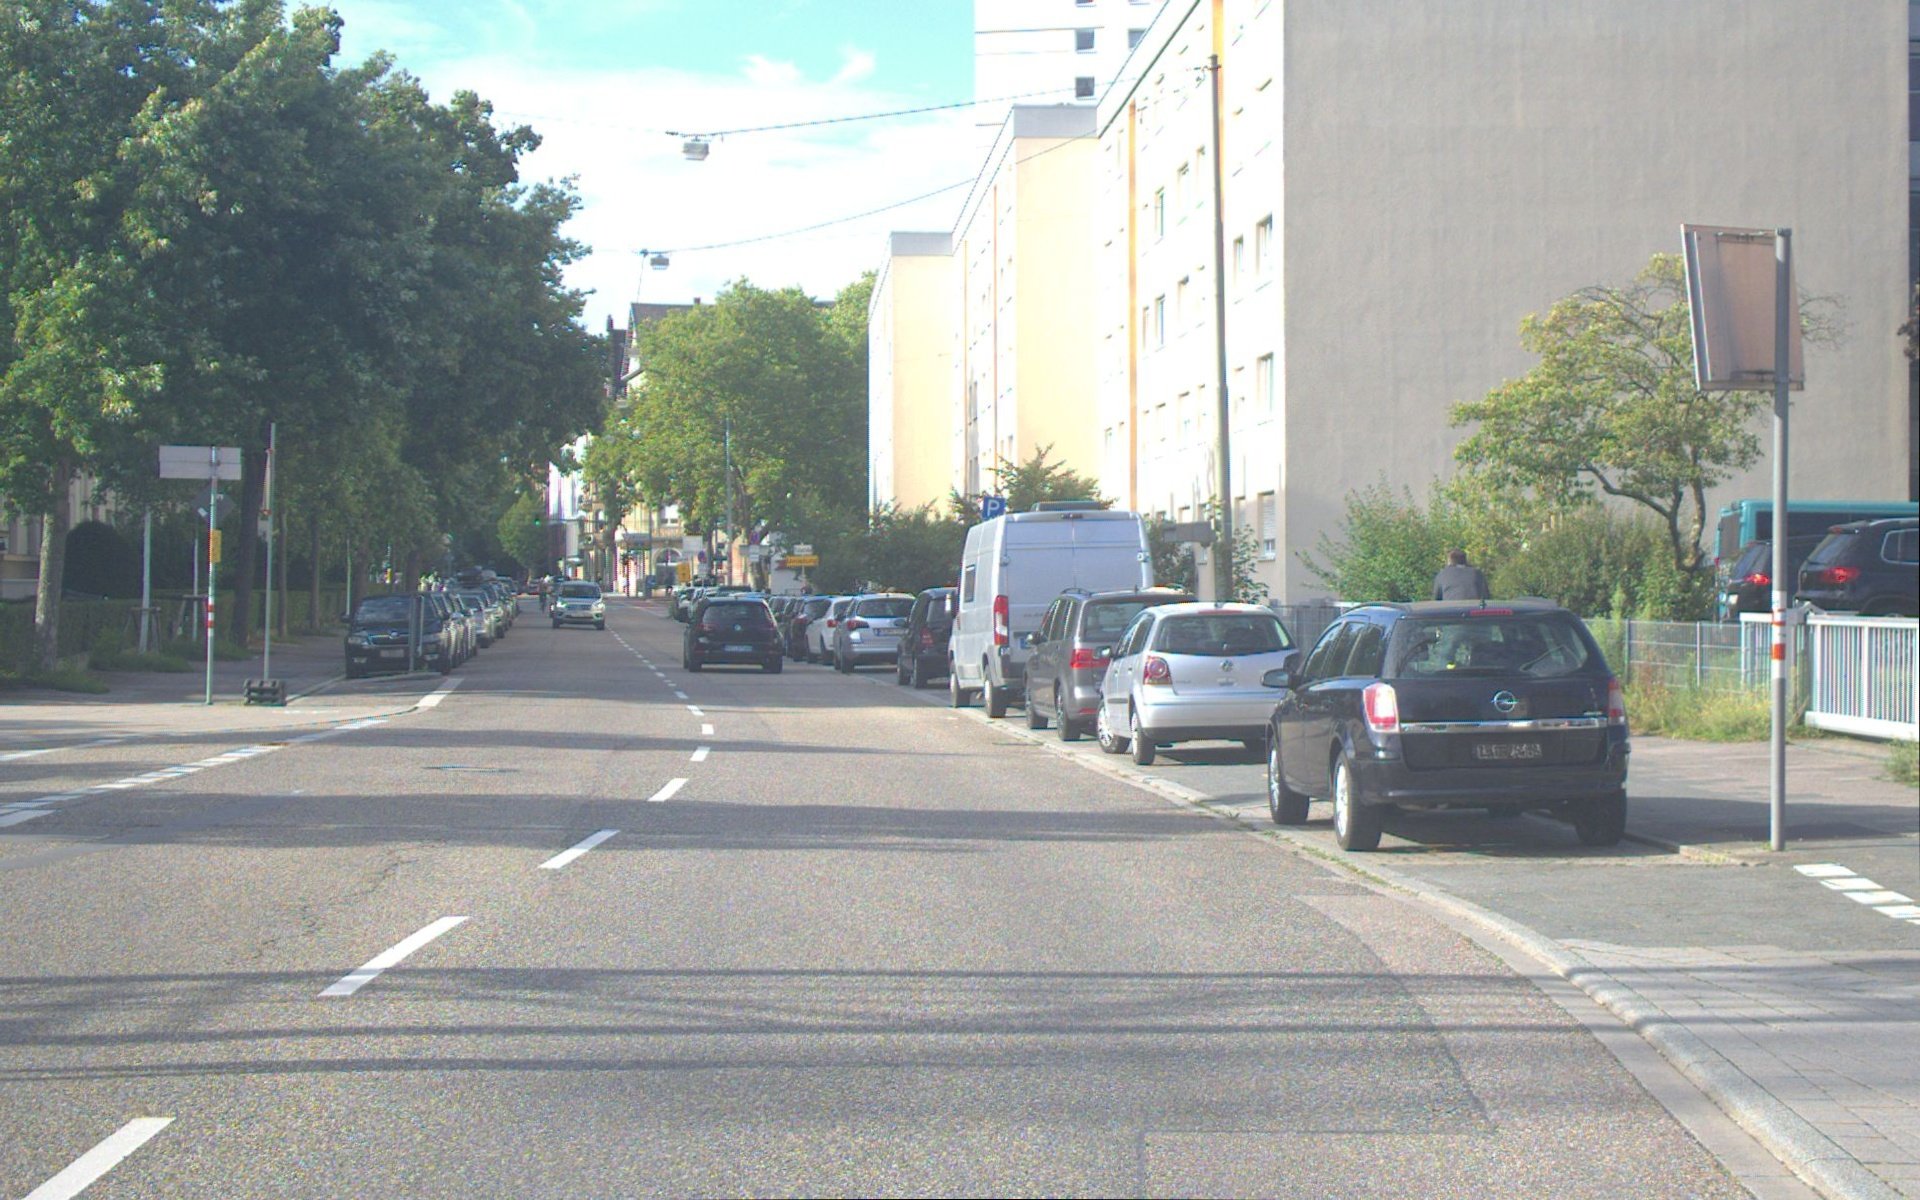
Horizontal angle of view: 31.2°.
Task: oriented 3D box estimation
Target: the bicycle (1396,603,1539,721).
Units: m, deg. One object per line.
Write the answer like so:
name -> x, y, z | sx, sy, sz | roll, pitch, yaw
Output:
bicycle -> 4.762, 0.563, 32.460 | 0.740, 1.031, 2.762 | -2, 0, -4

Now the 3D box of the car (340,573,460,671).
car -> -9.807, 0.365, 60.218 | 1.993, 1.634, 4.001 | -1, 0, -9

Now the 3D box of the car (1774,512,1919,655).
car -> 11.963, -0.213, 40.103 | 4.448, 1.616, 2.000 | -1, 0, 1

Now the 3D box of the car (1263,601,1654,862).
car -> 3.049, 0.763, 21.841 | 1.717, 1.491, 4.268 | 0, 0, -2

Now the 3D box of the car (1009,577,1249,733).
car -> 1.813, 0.567, 38.335 | 1.993, 1.610, 4.409 | -1, 0, -6

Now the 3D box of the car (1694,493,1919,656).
car -> 12.431, -0.360, 47.536 | 4.119, 2.178, 2.000 | -1, 0, 1

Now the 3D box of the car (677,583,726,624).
car -> -11.423, 0.169, 152.103 | 1.993, 1.749, 4.000 | 1, 0, -3

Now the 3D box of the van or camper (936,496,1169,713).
van or camper -> 1.107, 0.033, 44.354 | 2.209, 2.598, 5.372 | -1, 0, -7

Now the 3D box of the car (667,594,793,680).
car -> -4.426, 0.680, 65.596 | 1.993, 1.565, 4.001 | 1, 0, -10

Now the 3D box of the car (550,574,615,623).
car -> -13.412, -0.057, 122.082 | 2.055, 1.658, 3.927 | -1, 0, -9

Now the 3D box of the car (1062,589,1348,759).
car -> 2.260, 0.672, 33.037 | 2.015, 1.470, 4.803 | -1, 0, -5

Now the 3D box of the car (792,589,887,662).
car -> -2.767, 0.557, 78.099 | 1.993, 1.568, 4.001 | -1, 0, -4

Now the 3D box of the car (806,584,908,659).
car -> -2.230, 0.439, 73.494 | 1.993, 1.525, 4.001 | -1, 0, -4

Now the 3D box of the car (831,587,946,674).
car -> -1.394, 0.560, 65.749 | 1.993, 1.568, 4.001 | -1, 0, -4

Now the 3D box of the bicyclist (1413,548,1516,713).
bicyclist -> 4.755, 0.284, 32.429 | 0.737, 1.508, 0.875 | -2, 0, -4

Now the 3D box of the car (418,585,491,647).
car -> -13.307, 0.397, 90.366 | 1.806, 1.556, 3.435 | -1, 0, -9

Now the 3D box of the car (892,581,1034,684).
car -> 0.015, 0.489, 55.247 | 1.993, 1.568, 4.001 | -1, 0, -4
